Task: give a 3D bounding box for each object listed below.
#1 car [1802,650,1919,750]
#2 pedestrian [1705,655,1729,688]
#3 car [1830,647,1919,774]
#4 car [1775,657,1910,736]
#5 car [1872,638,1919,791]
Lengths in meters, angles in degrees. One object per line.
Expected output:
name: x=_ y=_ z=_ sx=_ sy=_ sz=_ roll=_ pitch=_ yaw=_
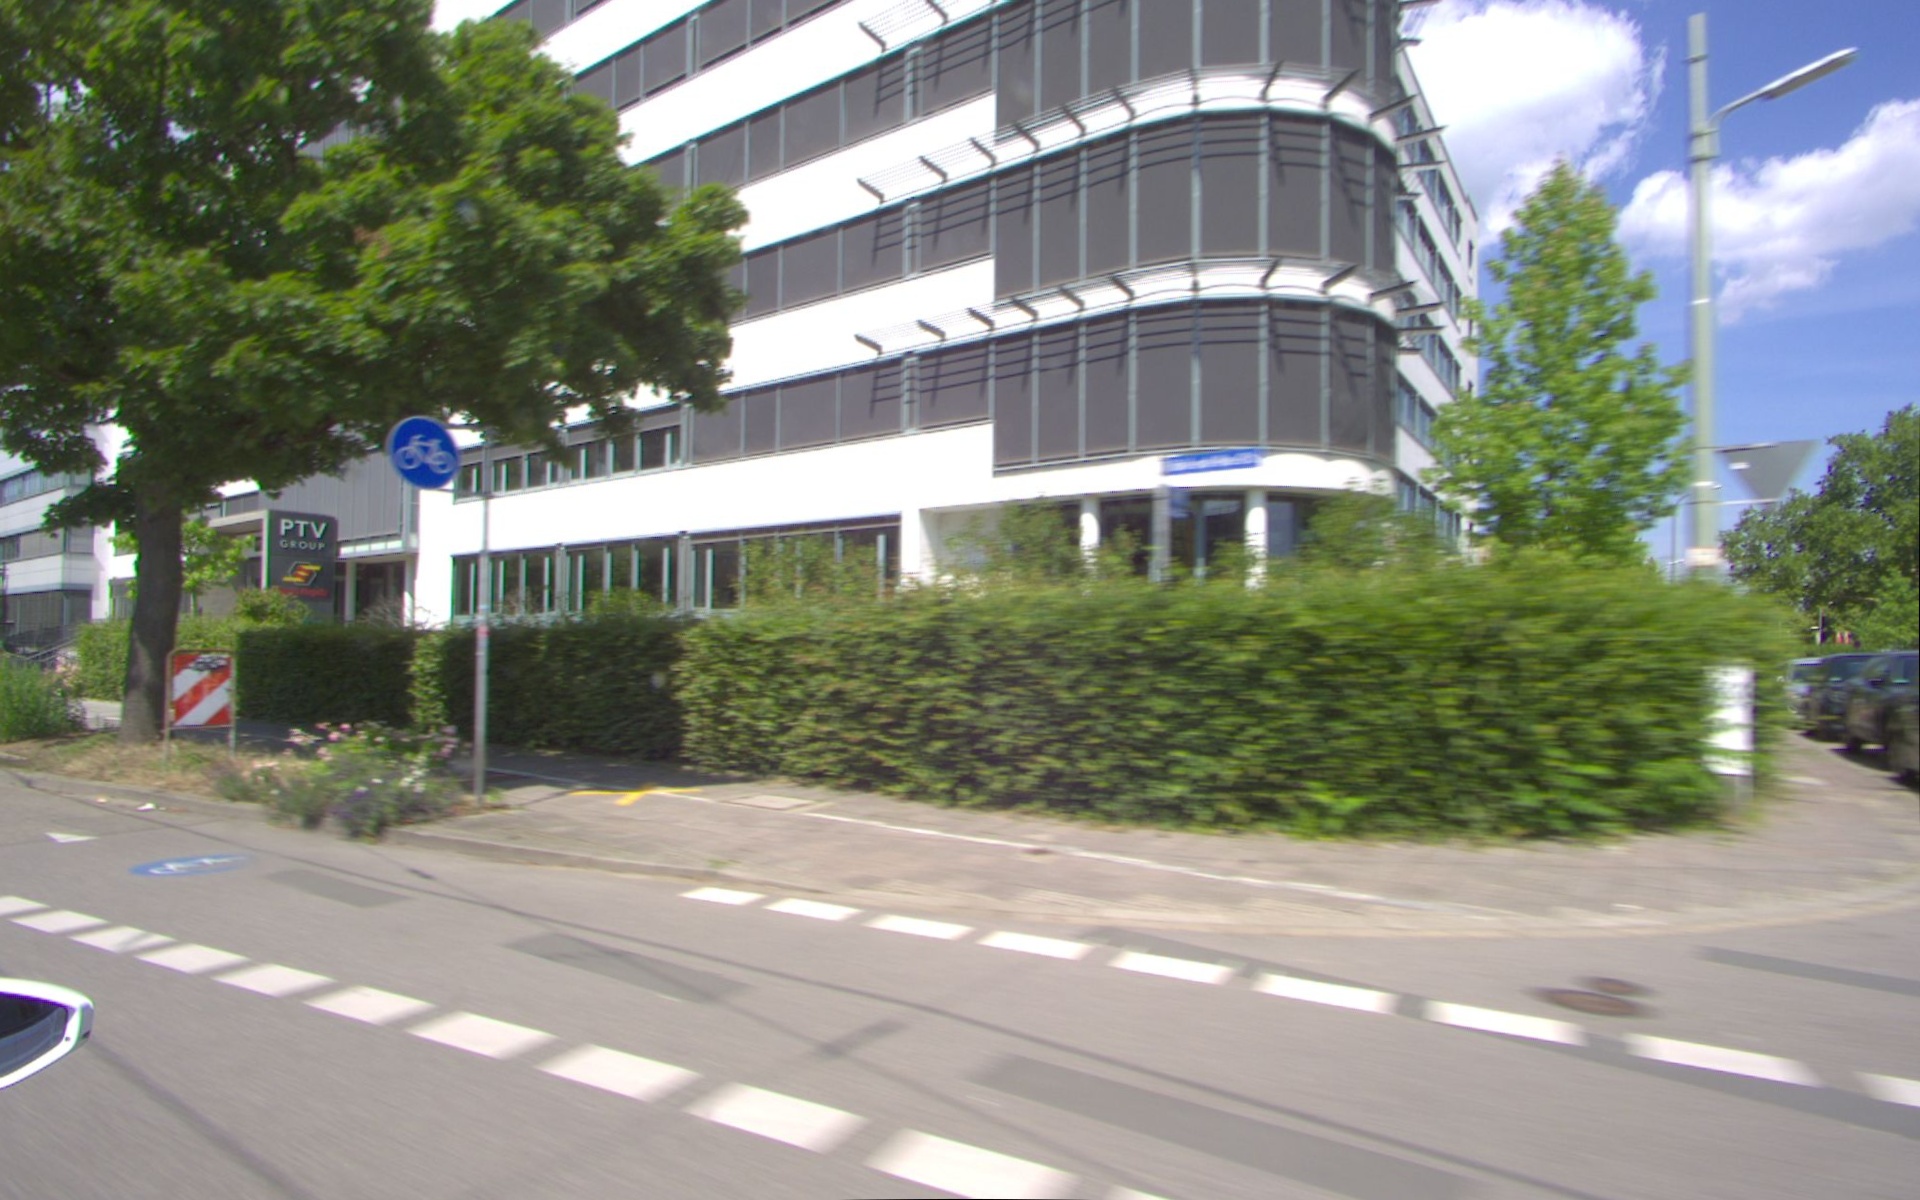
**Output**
car: x=16.538 y=1.740 z=18.032 sx=1.735 sy=1.625 sz=3.978 roll=-1 pitch=-4 yaw=35
pedestrian: x=40.109 y=3.786 z=53.073 sx=0.990 sy=1.737 sz=0.785 roll=-1 pitch=-5 yaw=36
car: x=13.270 y=1.455 z=13.634 sx=1.735 sy=1.543 sz=3.978 roll=-1 pitch=-3 yaw=35
car: x=18.884 y=2.009 z=21.592 sx=1.735 sy=1.518 sz=3.978 roll=-1 pitch=-4 yaw=35
car: x=10.360 y=1.126 z=9.744 sx=1.735 sy=1.469 sz=3.592 roll=-1 pitch=-3 yaw=35
